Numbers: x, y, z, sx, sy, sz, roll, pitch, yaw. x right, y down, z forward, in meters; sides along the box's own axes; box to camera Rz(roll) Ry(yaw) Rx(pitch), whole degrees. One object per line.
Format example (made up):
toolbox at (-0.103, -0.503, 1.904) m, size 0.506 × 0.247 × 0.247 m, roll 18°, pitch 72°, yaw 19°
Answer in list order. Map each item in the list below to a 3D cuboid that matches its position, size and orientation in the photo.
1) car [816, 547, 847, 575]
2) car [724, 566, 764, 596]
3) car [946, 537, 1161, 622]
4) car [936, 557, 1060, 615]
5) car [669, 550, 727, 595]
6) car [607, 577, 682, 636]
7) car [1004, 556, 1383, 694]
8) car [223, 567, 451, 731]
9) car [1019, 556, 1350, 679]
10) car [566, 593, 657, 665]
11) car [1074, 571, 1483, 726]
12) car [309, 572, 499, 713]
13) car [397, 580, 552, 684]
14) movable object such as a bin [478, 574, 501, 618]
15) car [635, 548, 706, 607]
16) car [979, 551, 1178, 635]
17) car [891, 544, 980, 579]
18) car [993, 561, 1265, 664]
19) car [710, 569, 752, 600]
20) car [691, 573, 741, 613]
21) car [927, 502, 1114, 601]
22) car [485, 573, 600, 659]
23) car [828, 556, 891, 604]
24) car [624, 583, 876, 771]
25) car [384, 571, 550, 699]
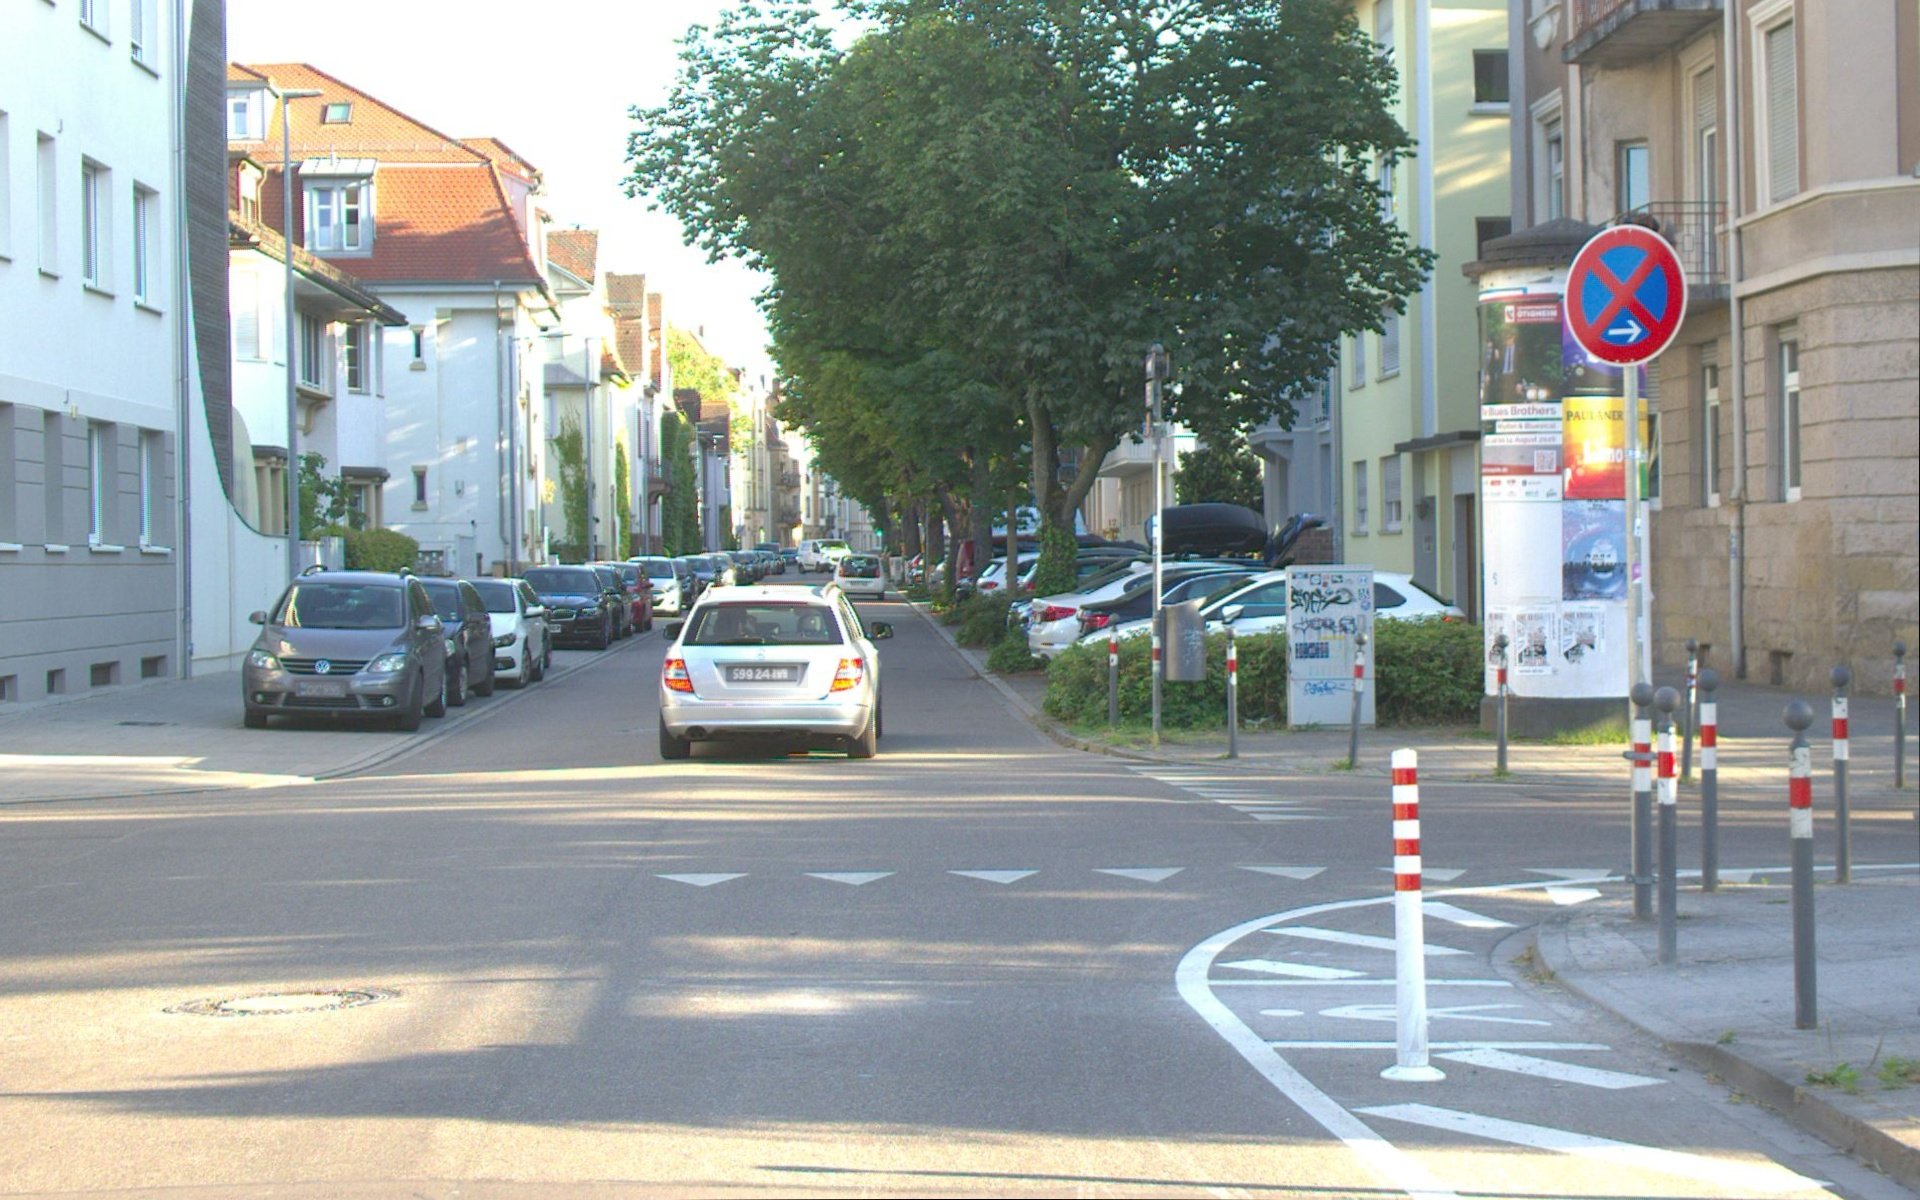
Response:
car at (-7.200, -2.192, 193.187) m, size 1.529 × 1.469 × 4.271 m, roll 0°, pitch 0°, yaw 1°
car at (-10.507, -0.937, 167.473) m, size 1.799 × 1.382 × 3.606 m, roll 0°, pitch 1°, yaw -2°
car at (2.022, -0.457, 75.595) m, size 4.625 × 1.830 × 1.954 m, roll 0°, pitch 1°, yaw -2°
car at (1.131, -0.423, 103.545) m, size 3.594 × 1.654 × 1.650 m, roll -1°, pitch 1°, yaw -3°
car at (-8.845, -0.948, 116.371) m, size 1.799 × 1.477 × 3.857 m, roll 0°, pitch 1°, yaw -2°
car at (-8.118, 0.156, 88.755) m, size 1.659 × 1.494 × 3.754 m, roll 0°, pitch 0°, yaw -1°
car at (2.940, 0.290, 43.746) m, size 4.475 × 1.520 × 1.954 m, roll -2°, pitch 2°, yaw -7°
car at (-6.403, 0.458, 35.697) m, size 1.884 × 1.585 × 4.091 m, roll 0°, pitch 1°, yaw -4°
car at (3.176, 0.238, 49.292) m, size 4.526 × 1.635 × 1.874 m, roll -1°, pitch 1°, yaw -2°
car at (-7.463, 0.595, 73.917) m, size 1.659 × 1.483 × 3.754 m, roll 0°, pitch 0°, yaw -1°
car at (3.305, 0.488, 36.241) m, size 4.048 × 1.500 × 1.862 m, roll -1°, pitch 1°, yaw -2°
car at (-6.625, 0.469, 41.333) m, size 1.884 × 1.585 × 4.091 m, roll 0°, pitch 1°, yaw -4°
car at (-7.015, 0.430, 50.051) m, size 1.758 × 1.442 × 4.142 m, roll 0°, pitch 0°, yaw -1°
movable object such as a bin at (-11.997, -0.102, 87.719) m, size 0.527 × 1.103 × 0.590 m, roll 0°, pitch -1°, yaw -2°
car at (-8.239, -0.655, 98.089) m, size 1.799 × 1.639 × 3.857 m, roll 0°, pitch 1°, yaw -2°
car at (2.293, -0.144, 67.081) m, size 3.730 × 1.553 × 1.725 m, roll -1°, pitch 1°, yaw -2°
car at (-1.059, -1.678, 149.465) m, size 3.844 × 1.477 × 1.805 m, roll -1°, pitch 1°, yaw -1°
car at (2.683, 0.187, 55.242) m, size 4.190 × 1.553 × 1.874 m, roll -1°, pitch 1°, yaw -2°
car at (-10.390, -0.711, 156.224) m, size 1.799 × 1.382 × 3.606 m, roll 0°, pitch 1°, yaw -2°
car at (-9.403, -0.290, 132.634) m, size 1.799 × 1.477 × 3.857 m, roll 0°, pitch 1°, yaw -2°
car at (1.850, -1.503, 106.640) m, size 5.541 × 2.958 × 2.472 m, roll -1°, pitch 1°, yaw -4°
car at (-7.495, 0.257, 62.061) m, size 1.854 × 1.492 × 4.656 m, roll 0°, pitch 0°, yaw -4°
car at (-3.172, -0.621, 109.318) m, size 1.817 × 1.468 × 4.216 m, roll -1°, pitch 0°, yaw 1°
car at (-1.711, 0.606, 29.297) m, size 1.817 × 1.468 × 4.216 m, roll -1°, pitch 0°, yaw 1°
car at (-6.491, 0.428, 45.600) m, size 1.884 × 1.585 × 4.091 m, roll 0°, pitch 1°, yaw -4°
